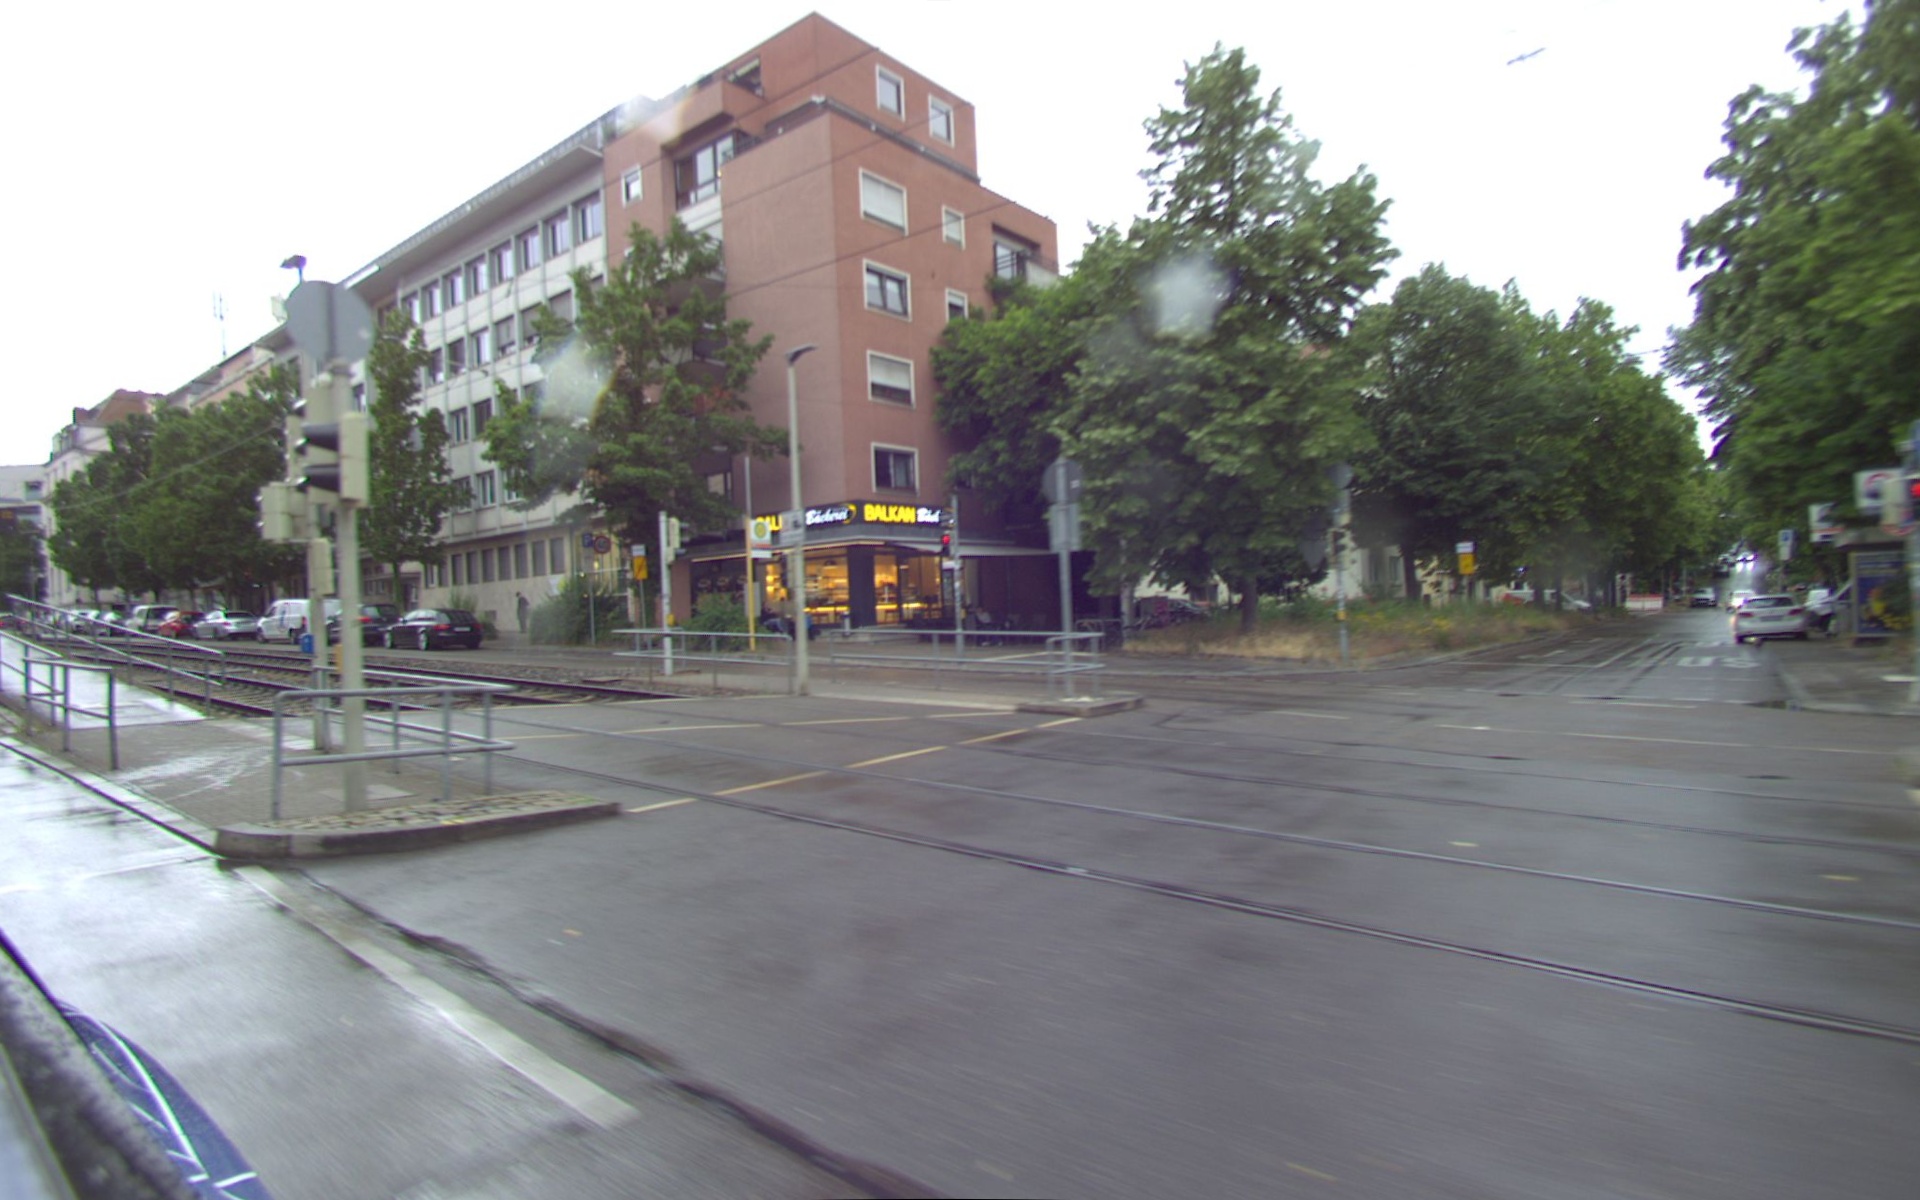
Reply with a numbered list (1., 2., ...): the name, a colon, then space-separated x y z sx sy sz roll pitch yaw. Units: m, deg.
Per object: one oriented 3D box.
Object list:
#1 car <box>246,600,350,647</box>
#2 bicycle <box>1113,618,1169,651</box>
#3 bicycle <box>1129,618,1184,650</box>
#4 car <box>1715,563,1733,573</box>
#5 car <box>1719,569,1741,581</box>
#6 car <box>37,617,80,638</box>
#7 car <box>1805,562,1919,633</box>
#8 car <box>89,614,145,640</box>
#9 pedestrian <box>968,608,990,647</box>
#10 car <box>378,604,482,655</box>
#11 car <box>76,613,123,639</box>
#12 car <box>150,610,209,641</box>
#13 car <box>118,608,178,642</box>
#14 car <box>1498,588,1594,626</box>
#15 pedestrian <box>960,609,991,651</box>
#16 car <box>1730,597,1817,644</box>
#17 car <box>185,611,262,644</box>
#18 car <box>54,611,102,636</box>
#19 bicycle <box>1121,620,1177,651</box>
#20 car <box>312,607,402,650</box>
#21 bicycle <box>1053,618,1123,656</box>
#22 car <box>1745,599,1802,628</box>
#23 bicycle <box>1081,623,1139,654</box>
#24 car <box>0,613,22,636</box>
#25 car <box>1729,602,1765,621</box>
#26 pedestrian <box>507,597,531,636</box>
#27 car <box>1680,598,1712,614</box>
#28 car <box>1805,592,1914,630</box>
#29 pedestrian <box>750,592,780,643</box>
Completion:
1. car: -27.871 0.955 42.526 5.246 1.858 1.890 -1 0 35
2. bicycle: 5.187 0.984 29.004 1.646 0.917 0.335 -1 -1 42
3. bicycle: 5.758 0.987 29.702 1.646 0.910 0.335 -1 -1 42
4. car: 118.822 -4.968 157.344 1.999 1.384 3.946 -1 2 41
5. car: 98.520 -3.215 129.423 1.999 1.384 3.946 -1 2 41
6. car: -63.464 1.889 71.247 4.454 1.386 1.696 -1 0 41
7. car: 35.401 -0.085 36.810 7.095 2.553 2.390 -1 -1 41
8. car: -50.093 1.568 60.103 4.723 1.451 1.623 -1 0 38
9. pedestrian: 0.587 0.826 30.782 0.601 1.187 0.676 -1 -1 7
10. car: -18.250 0.967 34.778 4.367 1.636 1.622 -1 0 40
11. car: -54.045 1.611 63.534 4.019 1.549 1.622 -1 0 40
12. car: -41.149 1.315 53.331 3.799 1.551 1.623 -1 0 38
13. car: -45.630 1.355 56.854 4.426 1.831 1.658 -1 0 38
14. car: 35.632 0.456 61.641 4.856 2.226 1.884 -1 -1 38
15. pedestrian: 0.454 0.857 29.200 0.608 1.187 0.668 -1 -1 44
16. car: 25.597 0.608 31.807 1.999 1.384 3.946 -1 -1 41
17. car: -34.930 1.279 47.961 4.522 1.473 1.676 -1 0 36
18. car: -58.943 1.568 67.630 4.332 1.596 1.642 -1 0 38
19. bicycle: 5.462 1.016 29.283 1.646 0.849 0.334 -1 -1 42
20. car: -23.043 1.052 38.610 4.367 1.548 1.622 -1 0 40
21. bicycle: 3.379 0.968 26.782 1.871 0.966 0.475 -1 -1 39
22. car: 40.901 0.645 50.854 2.097 1.384 4.387 -1 -1 41
23. bicycle: 4.080 1.033 27.587 1.645 0.822 0.336 -1 -1 39
24. car: -65.813 1.672 69.213 4.522 1.473 1.676 -1 0 36
25. car: 59.735 0.864 76.815 1.999 1.384 3.946 -1 -1 41
26. pedestrian: -18.175 0.681 41.707 0.583 1.569 0.693 -1 -1 33
27. car: 64.688 0.495 88.953 1.999 1.384 3.946 -1 -1 41
28. car: 49.992 0.628 56.388 4.445 2.045 2.070 -1 -1 41
29. pedestrian: -6.216 0.557 32.217 0.817 1.608 0.553 -1 -1 41
